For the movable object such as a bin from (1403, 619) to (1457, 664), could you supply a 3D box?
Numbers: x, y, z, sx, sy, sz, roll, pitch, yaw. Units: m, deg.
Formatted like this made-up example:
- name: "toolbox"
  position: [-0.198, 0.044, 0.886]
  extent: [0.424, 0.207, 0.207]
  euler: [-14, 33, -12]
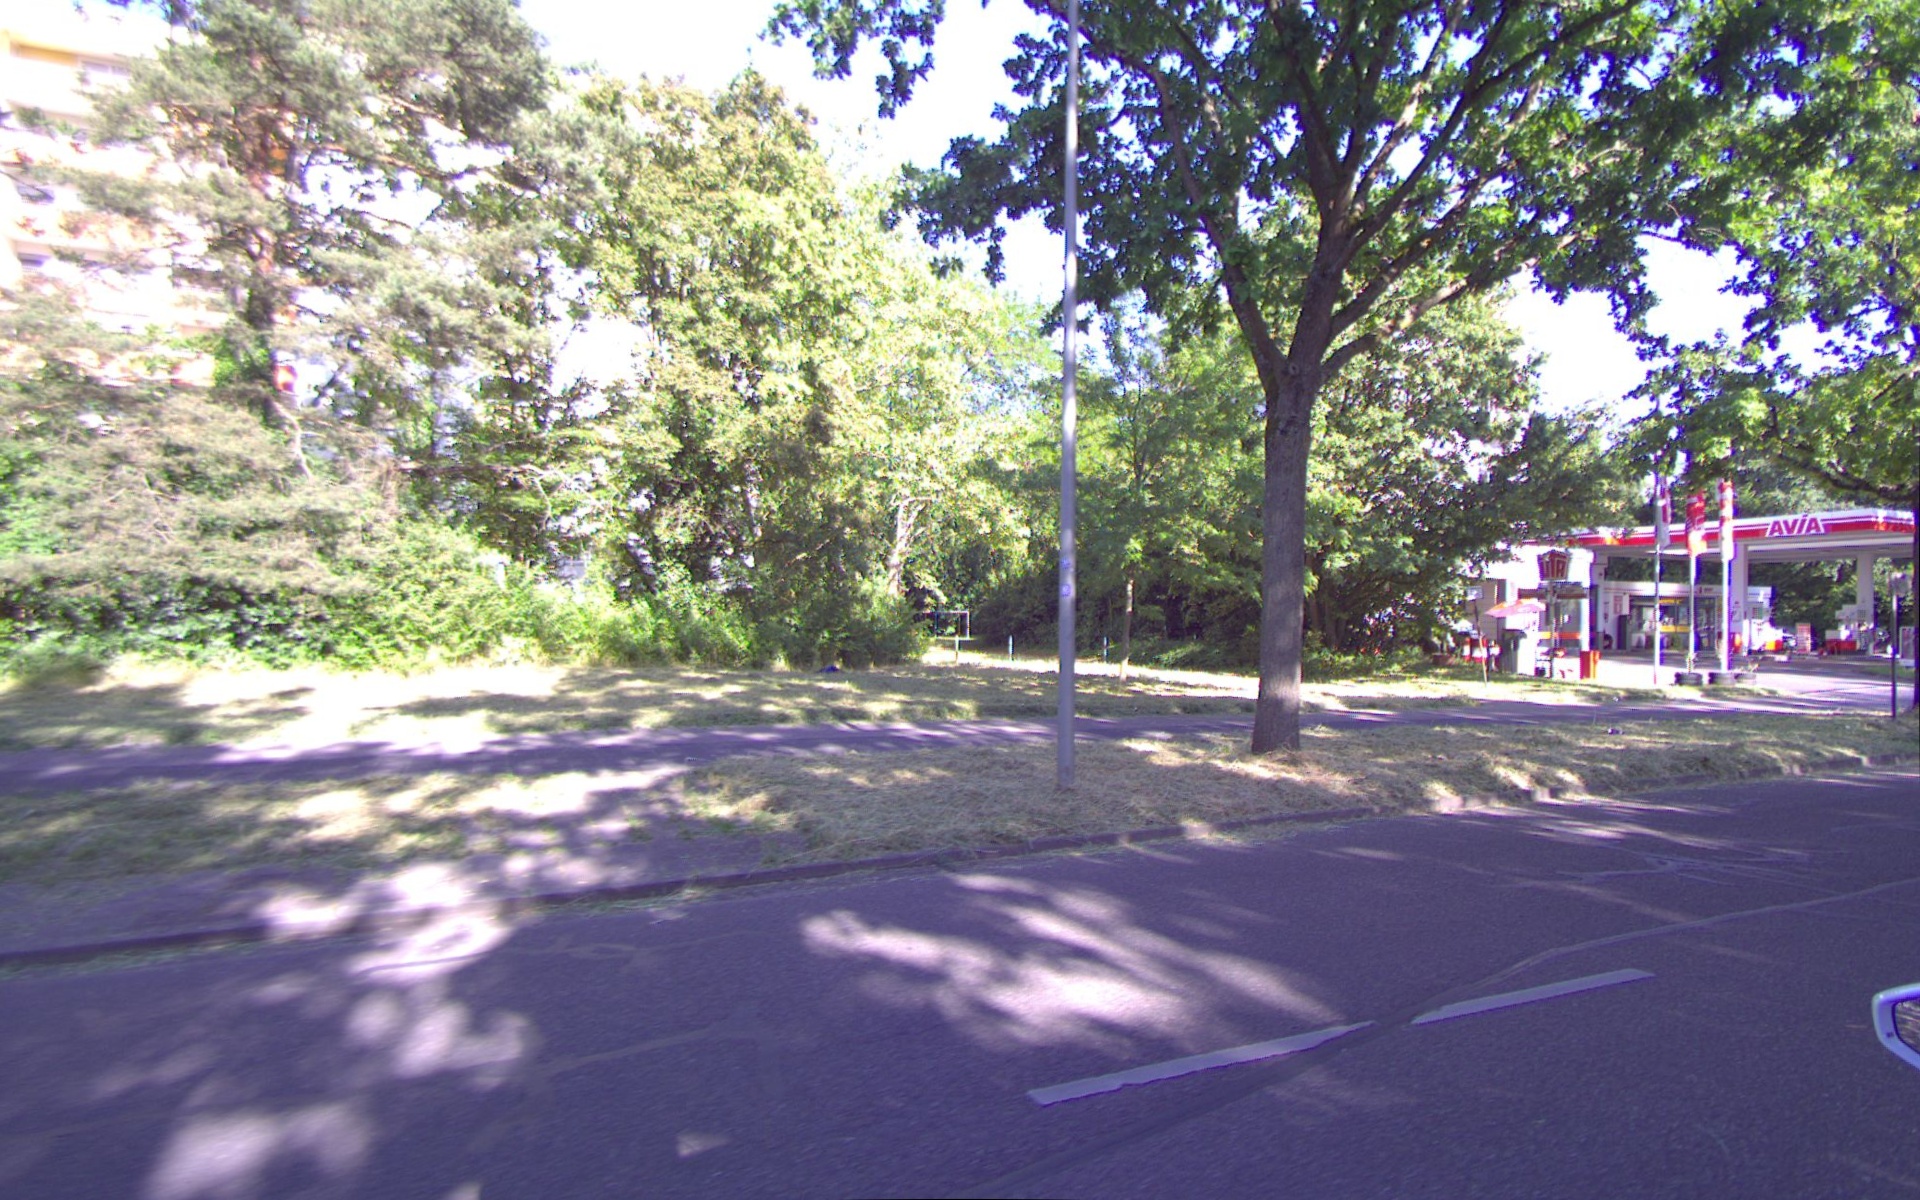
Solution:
- name: "movable object such as a bin"
  position: [17.029, 1.500, 36.419]
  extent: [1.149, 1.562, 1.299]
  euler: [1, 0, -27]

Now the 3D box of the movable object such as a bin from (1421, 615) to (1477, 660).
- name: "movable object such as a bin"
  position: [17.480, 1.338, 35.913]
  extent: [1.251, 1.562, 1.299]
  euler: [1, -1, -27]

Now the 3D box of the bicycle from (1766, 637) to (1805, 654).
- name: "bicycle"
  position: [41.799, 2.314, 50.860]
  extent: [1.749, 0.818, 0.618]
  euler: [1, -1, -13]

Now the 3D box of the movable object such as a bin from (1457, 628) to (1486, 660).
- name: "movable object such as a bin"
  position: [17.825, 1.524, 35.011]
  extent: [0.758, 1.100, 0.566]
  euler: [1, -1, -27]
